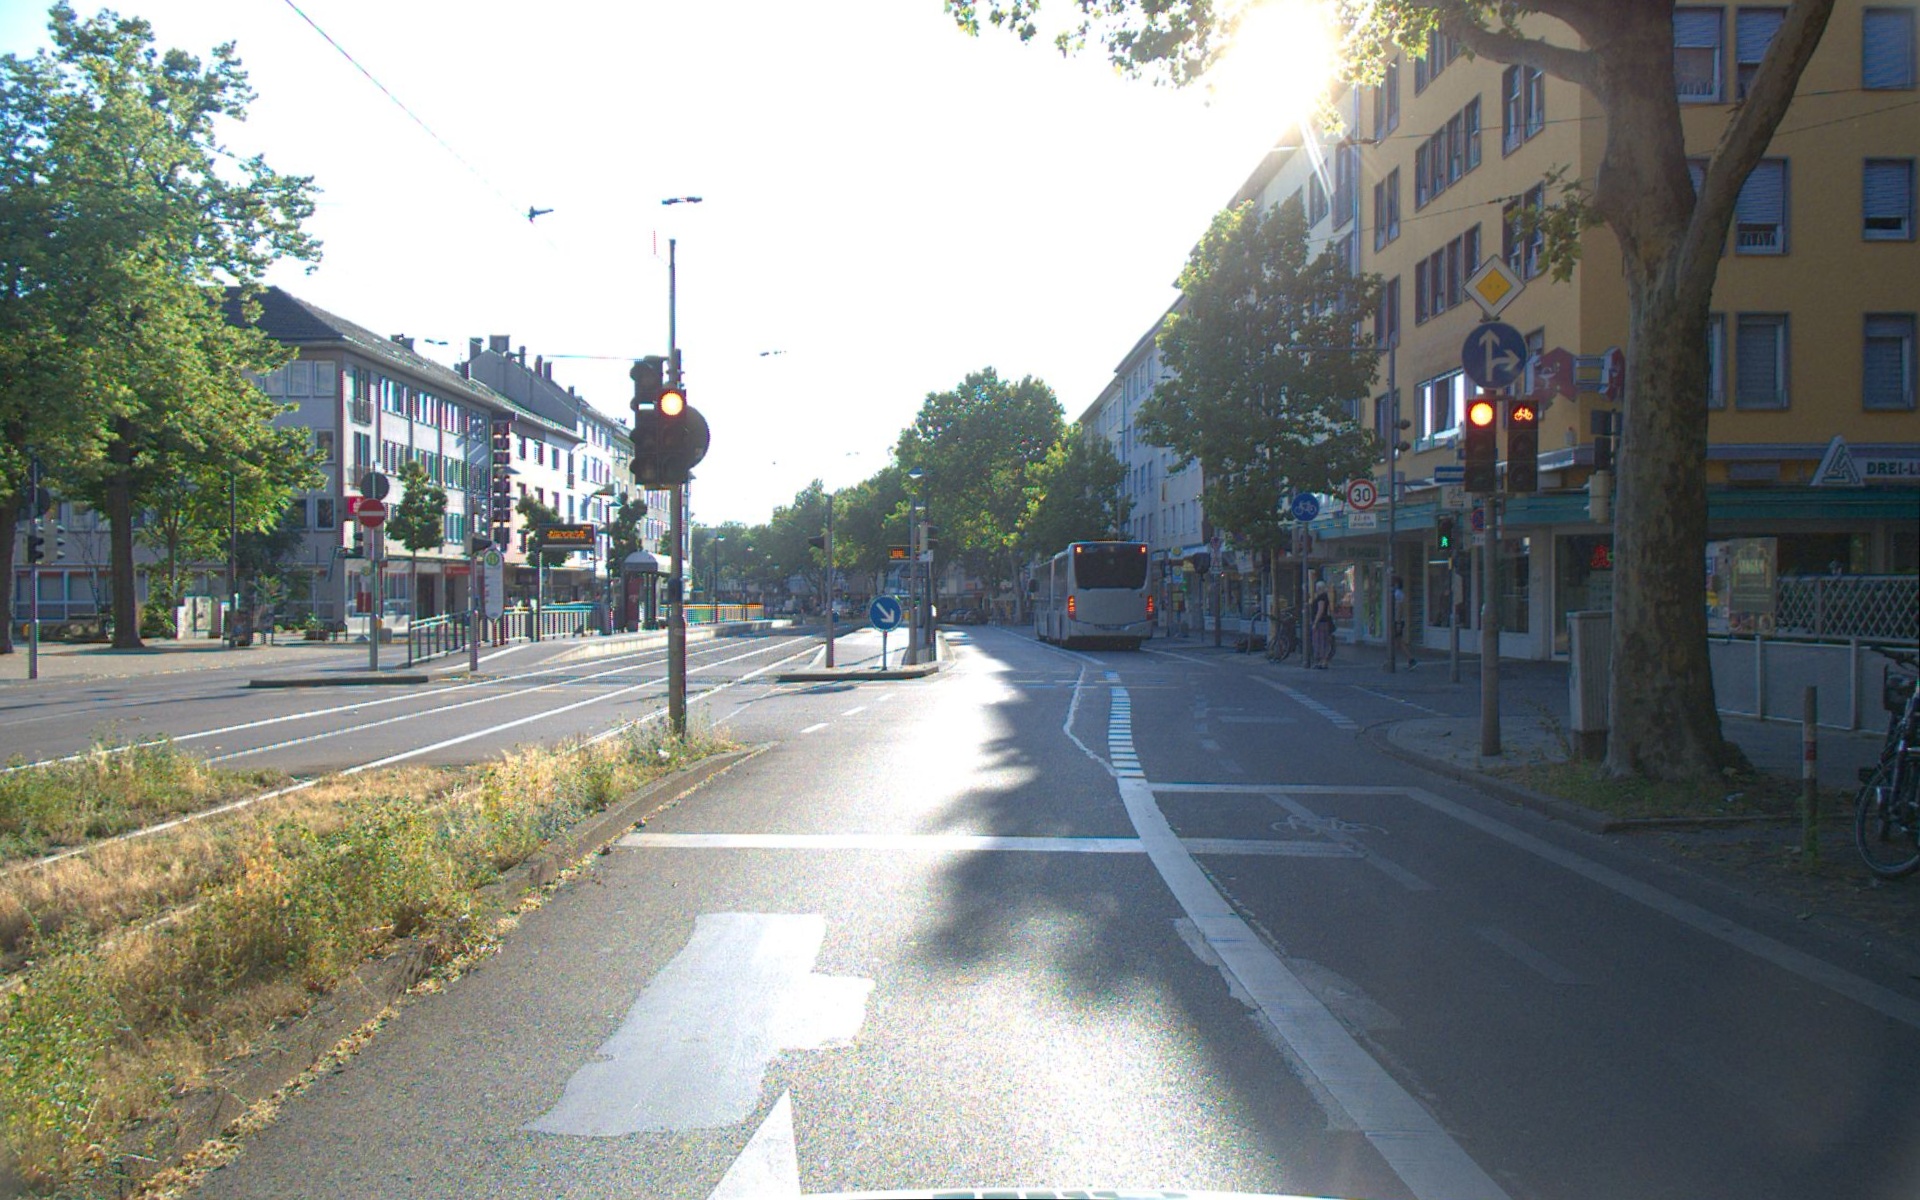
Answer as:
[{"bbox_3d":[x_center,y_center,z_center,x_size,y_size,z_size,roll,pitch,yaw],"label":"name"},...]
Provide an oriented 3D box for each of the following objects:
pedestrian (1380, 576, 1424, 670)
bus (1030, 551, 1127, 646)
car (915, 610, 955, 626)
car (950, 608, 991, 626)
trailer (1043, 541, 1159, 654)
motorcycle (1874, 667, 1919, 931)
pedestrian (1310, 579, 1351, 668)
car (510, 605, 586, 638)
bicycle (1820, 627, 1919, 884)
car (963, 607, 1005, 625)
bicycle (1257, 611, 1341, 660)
[{"bbox_3d":[8.582,0.447,32.105,0.666,1.801,0.687,0,0,0],"label":"pedestrian"},{"bbox_3d":[4.213,-0.051,60.743,2.755,3.155,9.093,2,0,0],"label":"bus"},{"bbox_3d":[-2.618,1.844,172.312,3.847,1.624,1.675,0,0,-29],"label":"car"},{"bbox_3d":[1.054,1.701,168.123,3.847,1.729,1.815,0,0,-29],"label":"car"},{"bbox_3d":[4.264,-0.072,51.811,2.755,3.164,8.793,2,0,0],"label":"trailer"},{"bbox_3d":[5.161,0.909,8.129,1.982,1.172,0.591,-1,0,-43],"label":"motorcycle"},{"bbox_3d":[7.579,0.473,33.856,0.666,1.801,0.687,0,0,0],"label":"pedestrian"},{"bbox_3d":[-23.845,1.238,95.760,3.940,1.847,1.983,0,0,-27],"label":"car"},{"bbox_3d":[5.508,0.836,9.513,0.682,1.224,1.839,2,4,37],"label":"bicycle"},{"bbox_3d":[2.368,1.629,164.771,3.847,1.729,1.815,0,0,-29],"label":"car"},{"bbox_3d":[7.677,0.795,37.453,1.736,1.039,0.694,-2,0,-1],"label":"bicycle"}]
